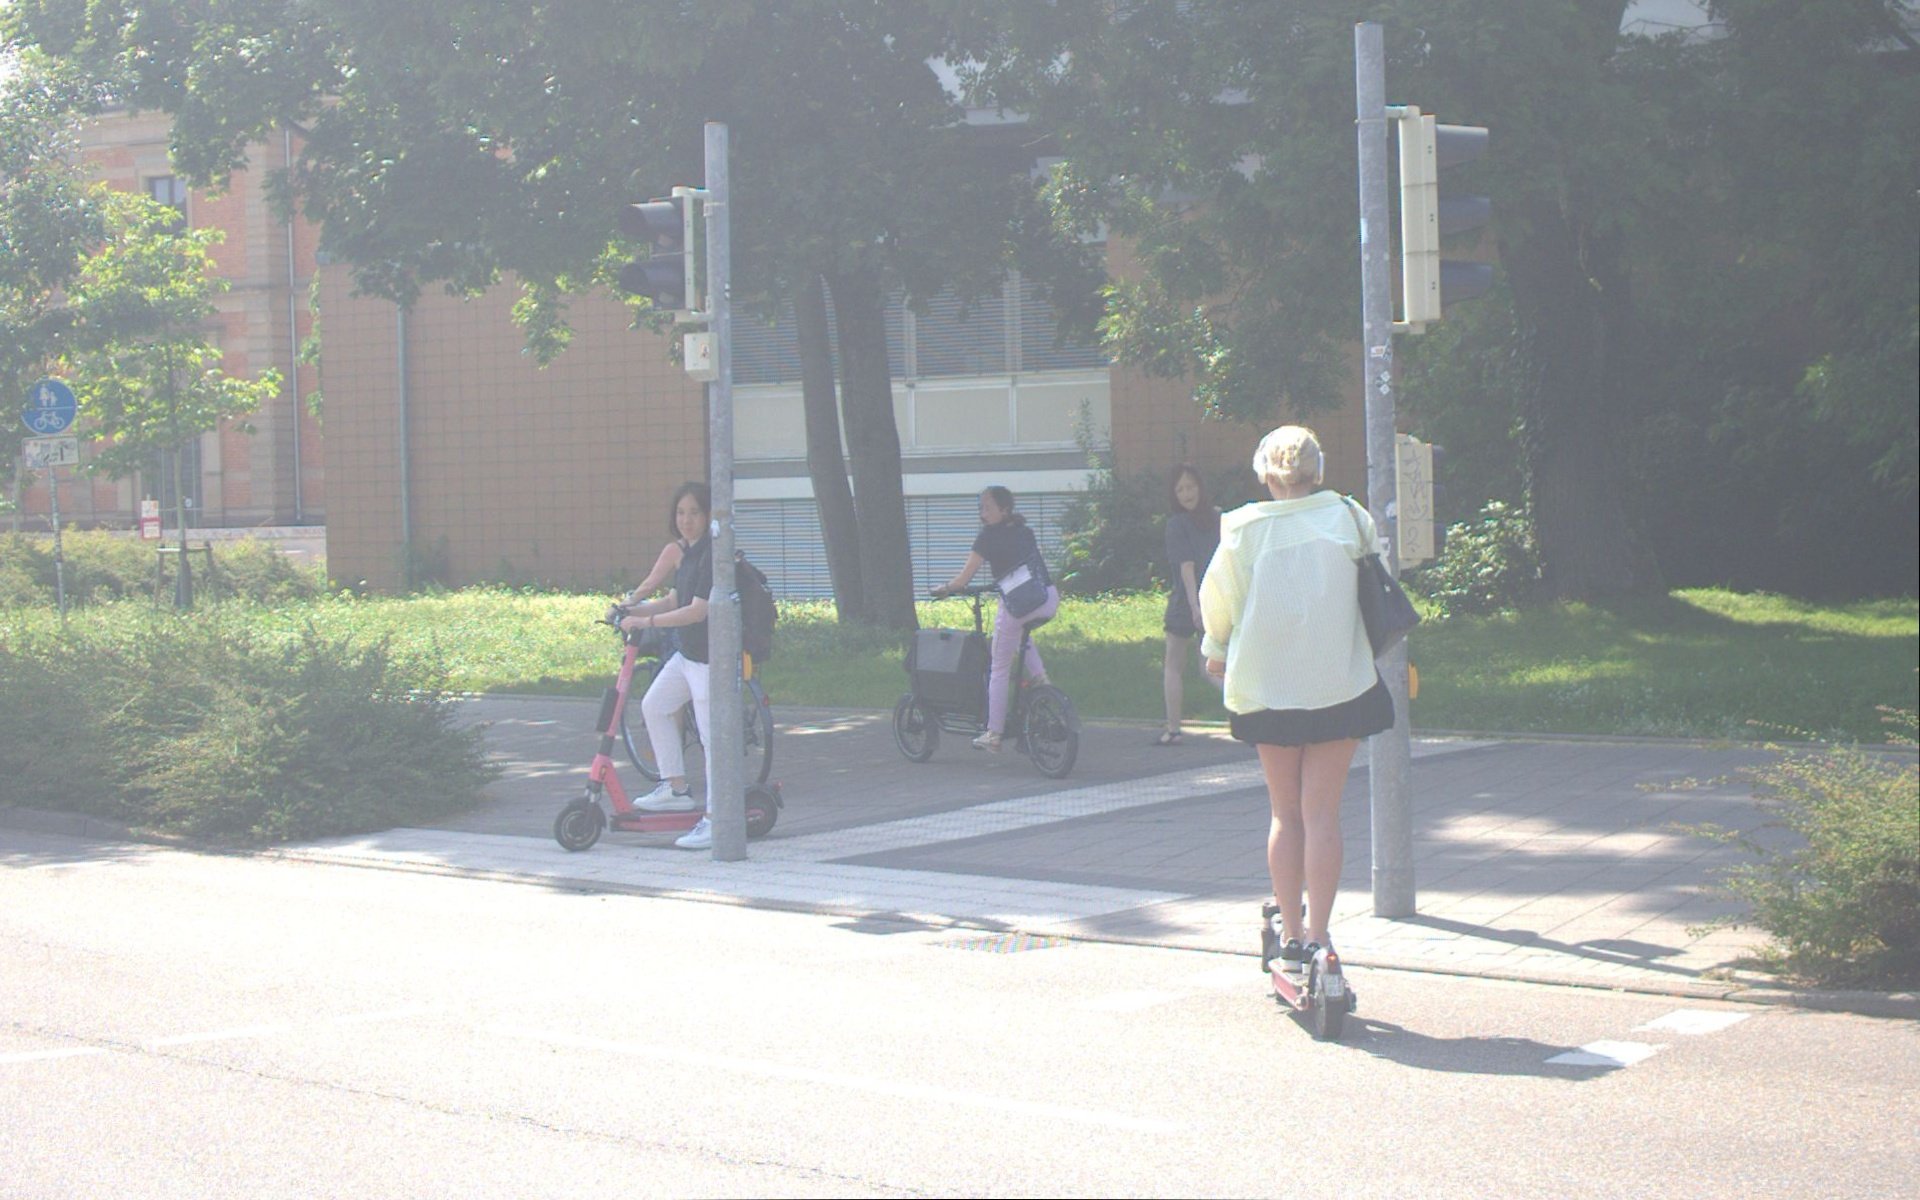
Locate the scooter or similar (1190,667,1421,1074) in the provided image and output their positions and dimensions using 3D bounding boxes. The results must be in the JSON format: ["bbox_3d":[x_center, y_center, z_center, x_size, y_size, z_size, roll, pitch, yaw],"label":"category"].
[{"bbox_3d":[1.069,0.806,10.971,0.556,1.056,2.004,-1,2,1],"label":"scooter or similar"}]

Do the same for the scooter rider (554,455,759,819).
[{"bbox_3d":[-1.510,0.166,17.046,0.802,1.733,0.689,-3,2,-20],"label":"scooter rider"}]

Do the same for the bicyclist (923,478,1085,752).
[{"bbox_3d":[0.243,0.074,19.486,0.548,1.491,0.804,-4,3,-26],"label":"bicyclist"}]

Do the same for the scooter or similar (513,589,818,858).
[{"bbox_3d":[-1.470,0.595,17.128,1.363,1.230,0.585,-3,2,-20],"label":"scooter or similar"}]

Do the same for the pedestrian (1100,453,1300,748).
[{"bbox_3d":[1.435,-0.007,20.600,0.706,1.698,0.878,-5,4,-43],"label":"pedestrian"}]

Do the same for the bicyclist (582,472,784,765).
[{"bbox_3d":[-1.579,0.093,19.580,0.691,1.593,0.843,-6,4,-42],"label":"bicyclist"}]

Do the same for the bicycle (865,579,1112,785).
[{"bbox_3d":[0.138,0.441,19.780,0.556,1.056,2.004,-4,3,-25],"label":"bicycle"}]

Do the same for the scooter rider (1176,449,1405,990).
[{"bbox_3d":[1.056,0.370,11.073,0.670,1.693,0.539,-1,1,1],"label":"scooter rider"}]

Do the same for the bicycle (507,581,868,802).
[{"bbox_3d":[-1.589,0.489,19.629,0.694,1.151,2.370,-5,4,-42],"label":"bicycle"}]
